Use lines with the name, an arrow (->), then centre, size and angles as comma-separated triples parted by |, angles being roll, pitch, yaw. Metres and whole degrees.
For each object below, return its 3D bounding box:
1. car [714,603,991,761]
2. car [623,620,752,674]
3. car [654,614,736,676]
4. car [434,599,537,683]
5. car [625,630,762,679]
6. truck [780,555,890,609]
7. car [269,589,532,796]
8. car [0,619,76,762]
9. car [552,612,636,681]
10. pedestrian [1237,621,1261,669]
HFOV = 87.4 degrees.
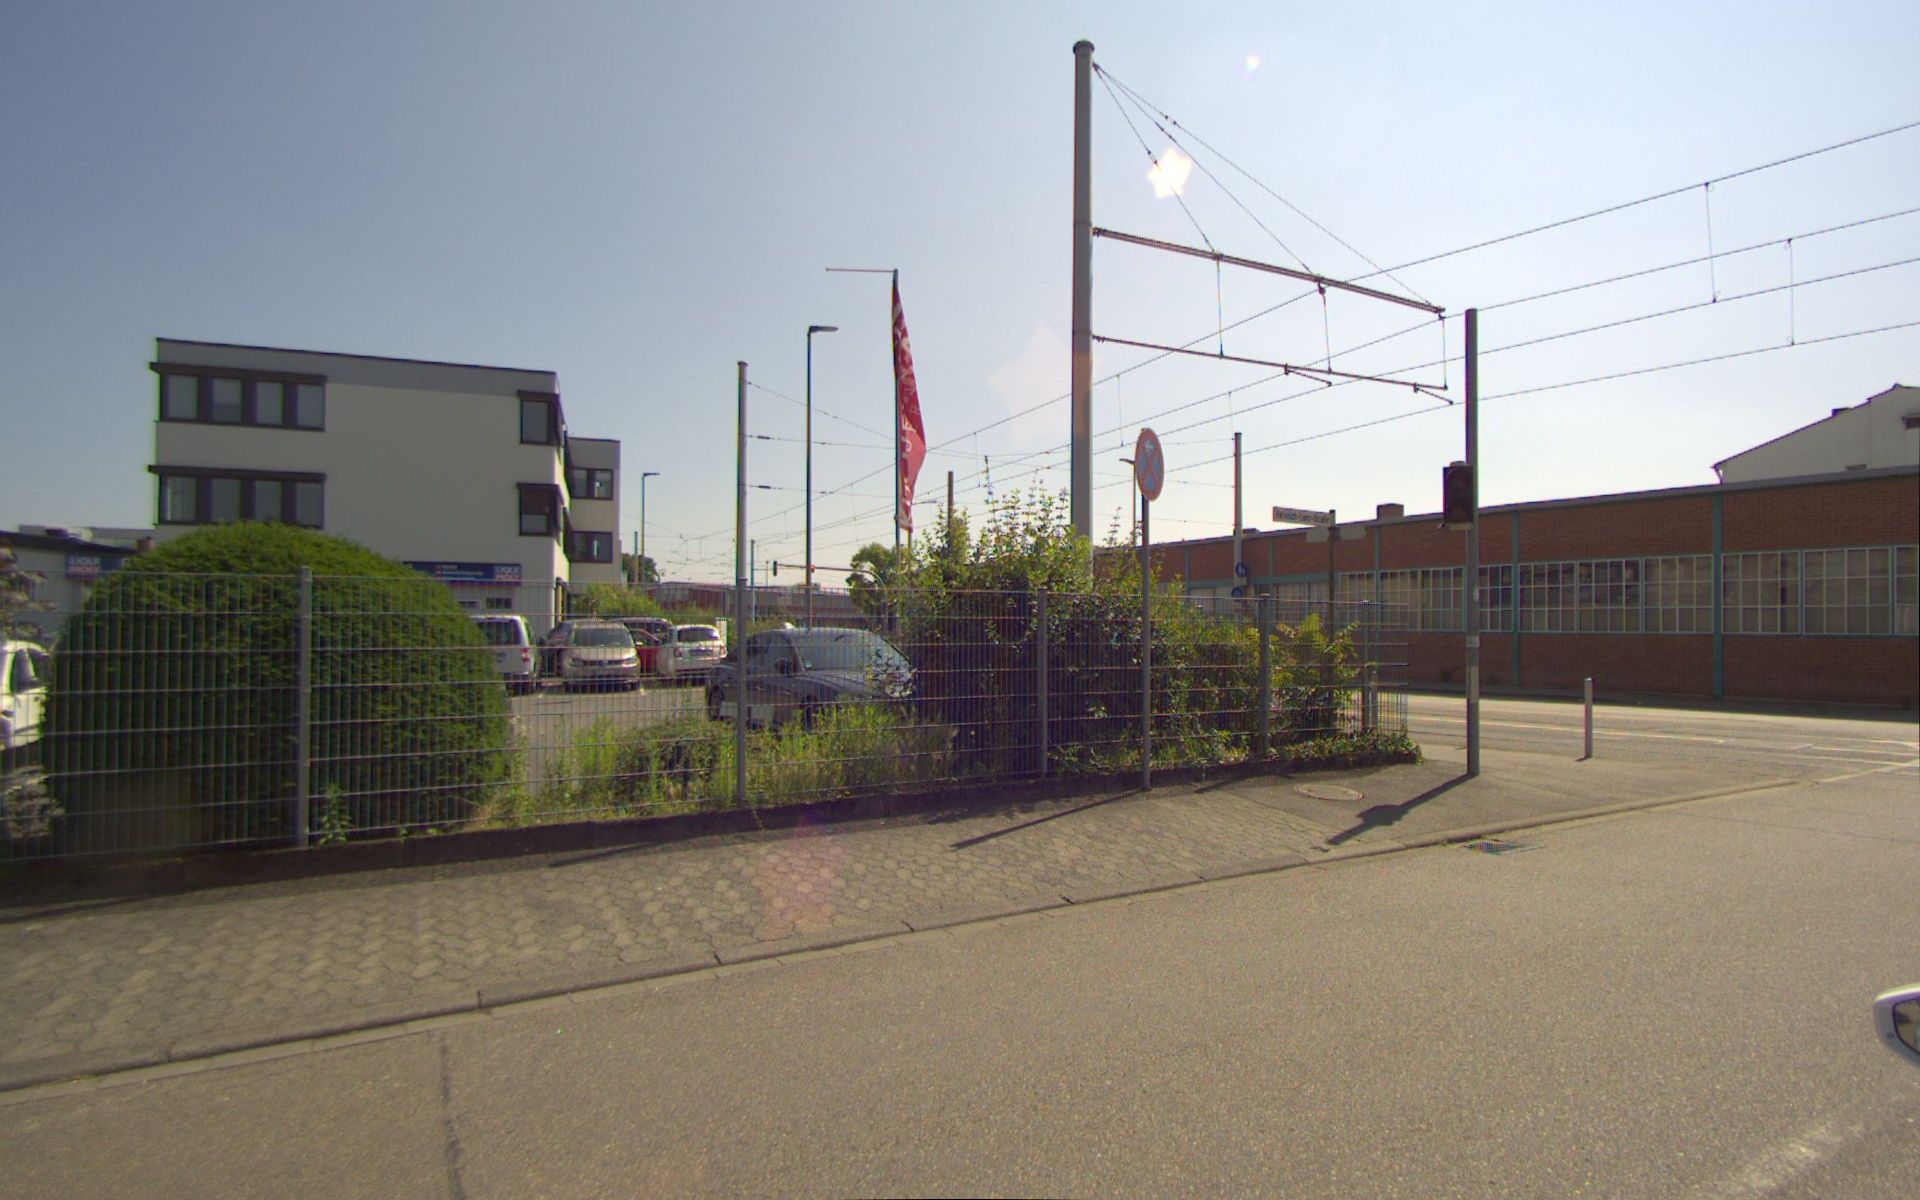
car -> -1.439, 0.843, 11.909 | 1.785, 1.532, 3.874 | 1, -1, -31
car -> -9.250, 1.574, 34.057 | 3.946, 1.728, 1.988 | 1, -2, -25
car -> -7.228, 1.184, 27.152 | 1.715, 1.562, 3.818 | 1, -2, -21
car -> -11.303, 0.970, 24.177 | 1.899, 1.847, 4.021 | 1, -2, -21
car -> -8.084, 1.635, 30.475 | 3.783, 1.388, 1.738 | 2, -2, -24
truck -> -9.265, -1.336, 75.158 | 7.819, 3.832, 2.480 | 1, -1, 0
car -> -5.463, 0.753, 9.726 | 1.837, 1.562, 3.803 | 1, -2, -32
car -> -11.310, 0.963, 11.051 | 1.632, 1.492, 3.058 | 2, -1, -27
car -> -9.193, 1.125, 25.357 | 1.828, 1.588, 3.918 | 1, -1, -19
pedestrian -> 11.123, 1.739, 38.660 | 0.676, 1.788, 0.447 | 2, 1, -22
